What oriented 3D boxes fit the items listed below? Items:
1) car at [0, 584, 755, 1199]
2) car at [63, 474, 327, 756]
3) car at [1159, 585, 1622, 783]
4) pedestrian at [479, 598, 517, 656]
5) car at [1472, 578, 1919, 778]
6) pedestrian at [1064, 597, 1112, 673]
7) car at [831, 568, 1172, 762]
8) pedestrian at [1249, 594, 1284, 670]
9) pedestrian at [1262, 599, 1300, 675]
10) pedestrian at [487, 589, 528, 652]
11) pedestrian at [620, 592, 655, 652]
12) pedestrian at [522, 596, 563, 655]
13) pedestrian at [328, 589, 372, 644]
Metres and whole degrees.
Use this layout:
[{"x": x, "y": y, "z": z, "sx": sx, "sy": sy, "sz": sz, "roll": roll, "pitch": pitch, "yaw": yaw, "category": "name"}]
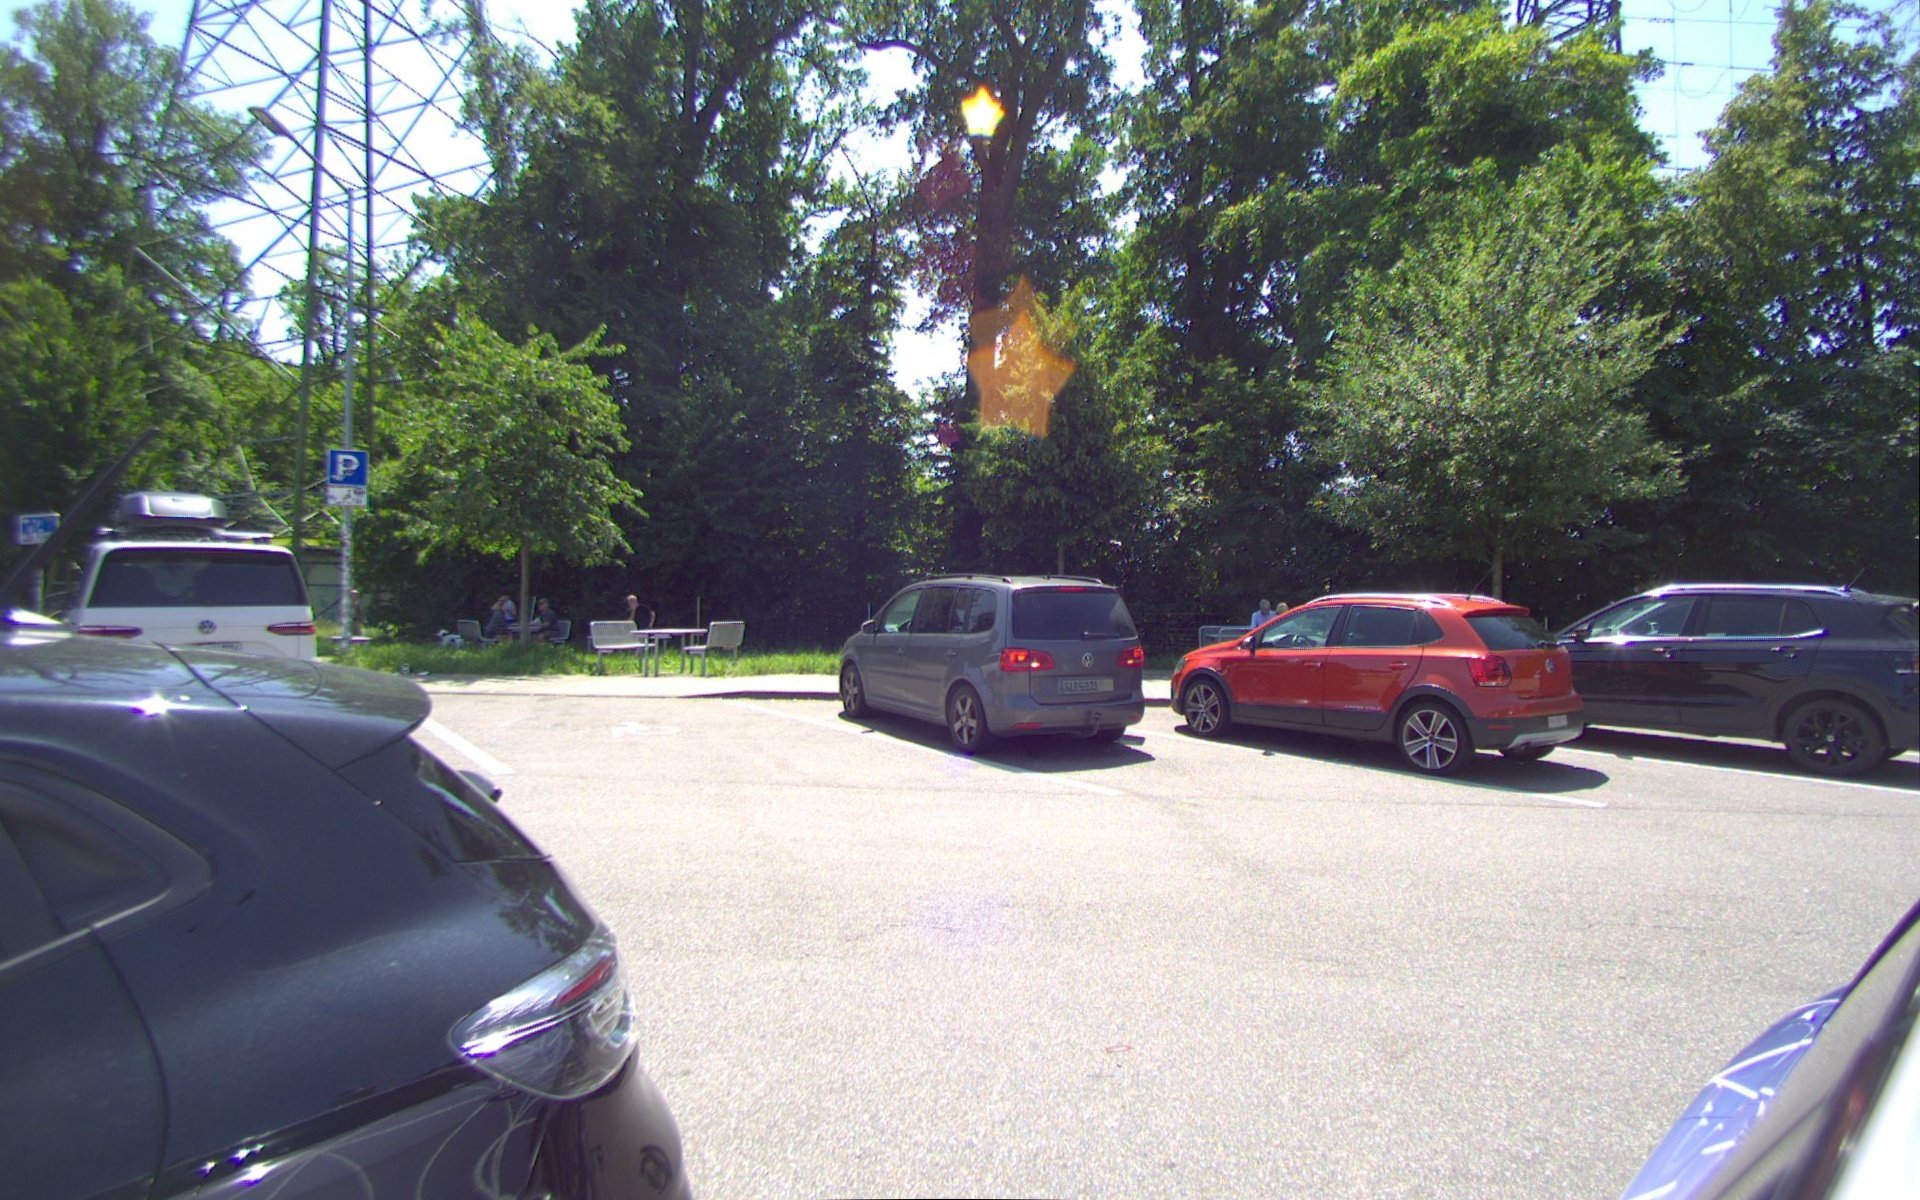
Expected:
[{"x": -2.139, "y": 0.718, "z": 0.586, "sx": 1.615, "sy": 1.503, "sz": 3.706, "roll": 0, "pitch": -1, "yaw": 44, "category": "car"}, {"x": -8.078, "y": 0.087, "z": 10.624, "sx": 1.885, "sy": 2.353, "sz": 4.089, "roll": 0, "pitch": 1, "yaw": -40, "category": "car"}, {"x": 3.848, "y": 0.607, "z": 9.650, "sx": 1.604, "sy": 1.476, "sz": 3.810, "roll": 0, "pitch": 1, "yaw": -34, "category": "car"}, {"x": -10.447, "y": 0.595, "z": 22.878, "sx": 0.630, "sy": 1.287, "sz": 0.579, "roll": 1, "pitch": -1, "yaw": -39, "category": "pedestrian"}, {"x": 7.227, "y": 0.579, "z": 9.674, "sx": 1.727, "sy": 1.566, "sz": 3.806, "roll": 0, "pitch": 1, "yaw": -39, "category": "car"}, {"x": 2.123, "y": 0.583, "z": 16.823, "sx": 0.660, "sy": 1.235, "sz": 0.682, "roll": 1, "pitch": -2, "yaw": -5, "category": "pedestrian"}, {"x": 0.212, "y": 0.501, "z": 10.553, "sx": 1.717, "sy": 1.611, "sz": 3.961, "roll": 0, "pitch": 1, "yaw": -30, "category": "car"}, {"x": 5.757, "y": 0.591, "z": 19.019, "sx": 0.495, "sy": 1.393, "sz": 0.491, "roll": 1, "pitch": -1, "yaw": 0, "category": "pedestrian"}, {"x": 5.675, "y": 0.641, "z": 17.895, "sx": 0.495, "sy": 1.316, "sz": 0.491, "roll": 1, "pitch": -1, "yaw": 0, "category": "pedestrian"}, {"x": -10.959, "y": 0.487, "z": 24.512, "sx": 0.722, "sy": 1.478, "sz": 0.669, "roll": 1, "pitch": -1, "yaw": -39, "category": "pedestrian"}, {"x": -6.787, "y": 0.461, "z": 21.312, "sx": 0.550, "sy": 1.229, "sz": 0.599, "roll": 1, "pitch": -1, "yaw": -1, "category": "pedestrian"}, {"x": -9.727, "y": 0.580, "z": 23.575, "sx": 0.722, "sy": 1.343, "sz": 0.669, "roll": 1, "pitch": -1, "yaw": -39, "category": "pedestrian"}, {"x": -15.535, "y": 0.417, "z": 25.778, "sx": 0.600, "sy": 1.391, "sz": 0.704, "roll": 1, "pitch": -1, "yaw": 19, "category": "pedestrian"}]
